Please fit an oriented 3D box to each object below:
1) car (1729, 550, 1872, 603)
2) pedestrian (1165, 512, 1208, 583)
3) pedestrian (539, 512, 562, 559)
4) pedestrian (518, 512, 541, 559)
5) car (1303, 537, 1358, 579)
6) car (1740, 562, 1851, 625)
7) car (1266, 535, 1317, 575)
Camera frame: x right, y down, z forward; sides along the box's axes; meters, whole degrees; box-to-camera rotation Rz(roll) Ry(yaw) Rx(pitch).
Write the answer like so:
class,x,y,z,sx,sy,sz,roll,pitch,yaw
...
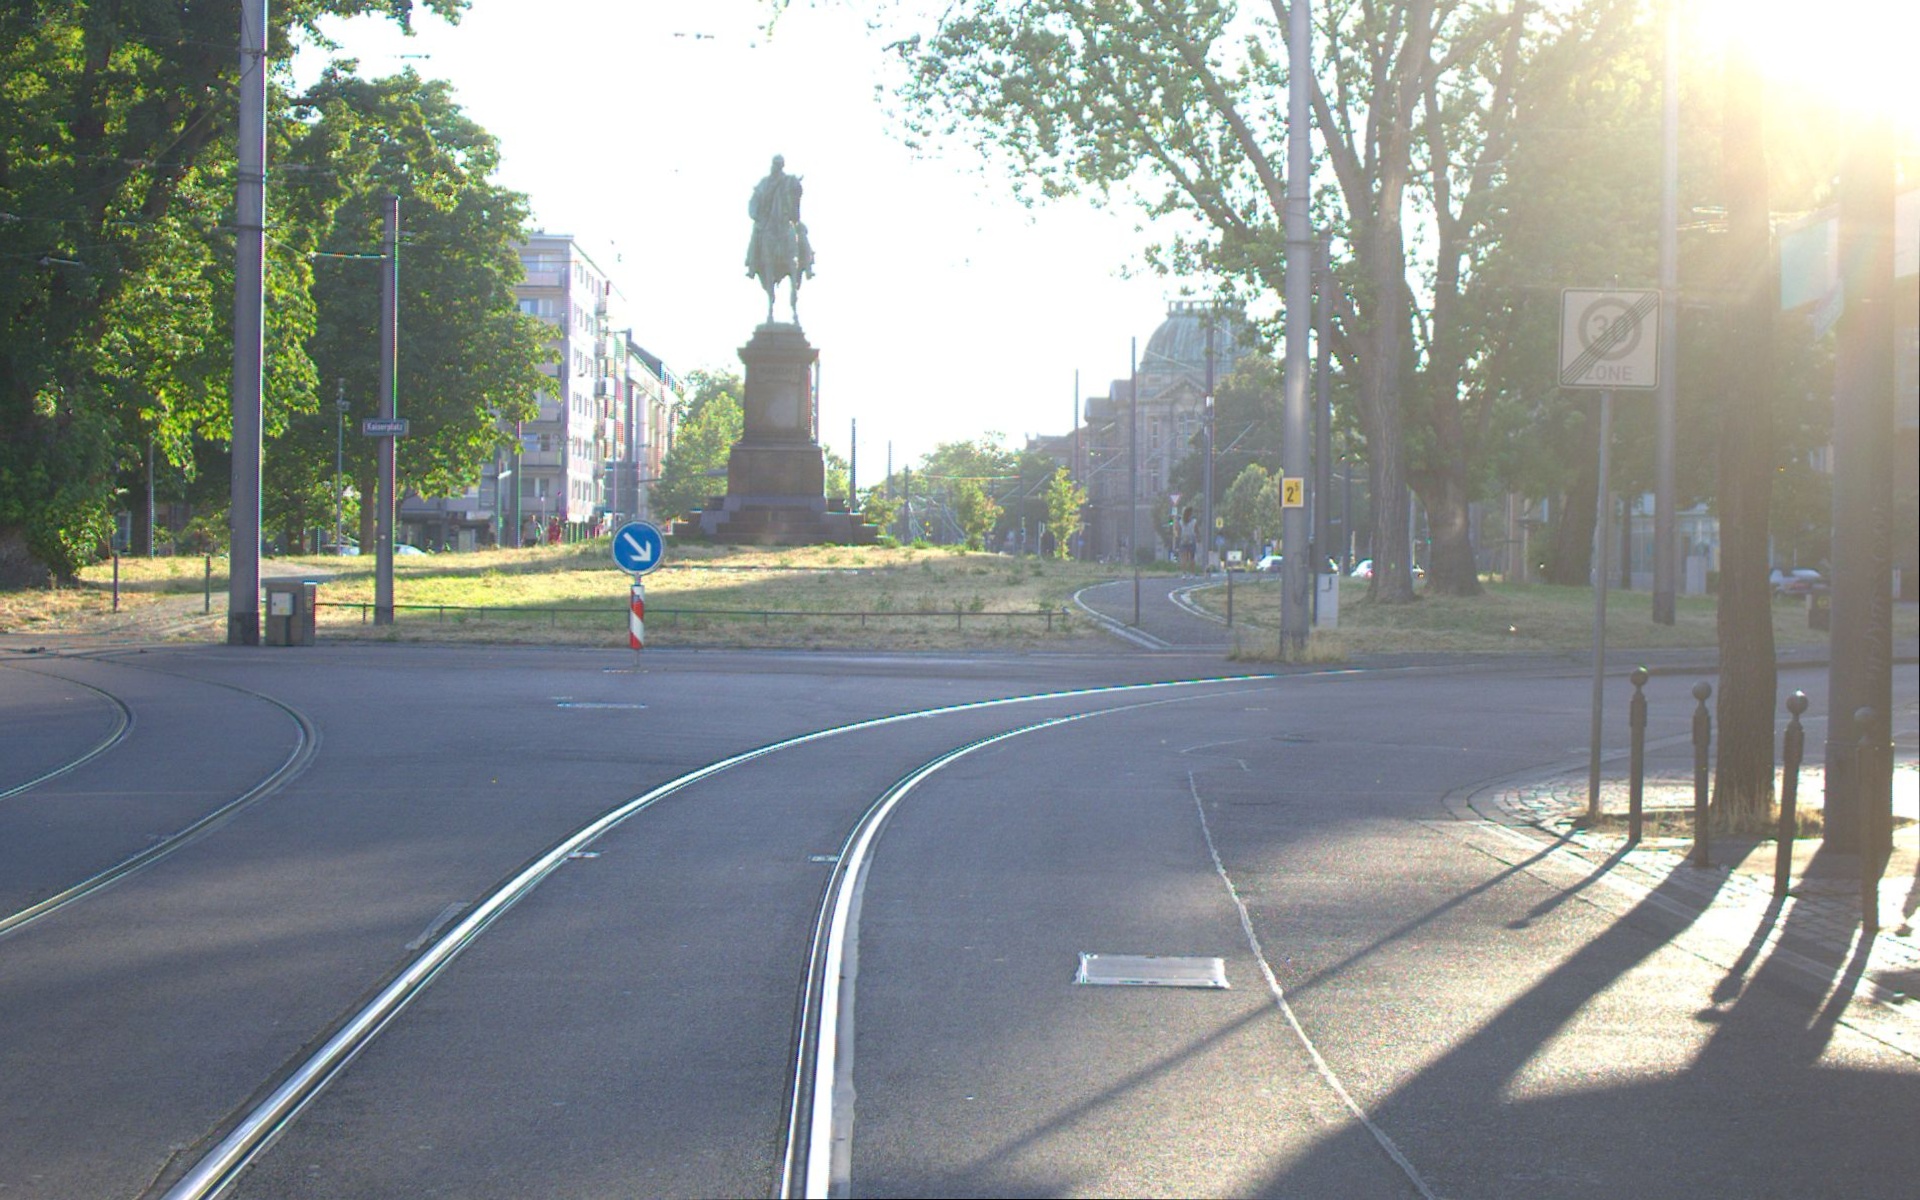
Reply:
class,x,y,z,sx,sy,sz,roll,pitch,yaw
car,27.112,-0.764,111.001,3.986,1.579,2.016,1,1,-6
pedestrian,5.195,-1.208,78.868,0.769,1.600,0.638,-1,2,-44
pedestrian,-14.063,-2.218,118.012,0.769,1.600,0.638,0,1,-8
pedestrian,-14.842,-2.236,118.508,0.769,1.600,0.638,0,1,-8
car,18.459,-2.085,171.412,2.138,2.007,4.001,1,1,-2
car,27.247,-0.225,112.246,1.993,1.963,4.001,0,1,-12
car,17.516,-2.384,181.787,2.138,2.007,4.001,1,1,-2
